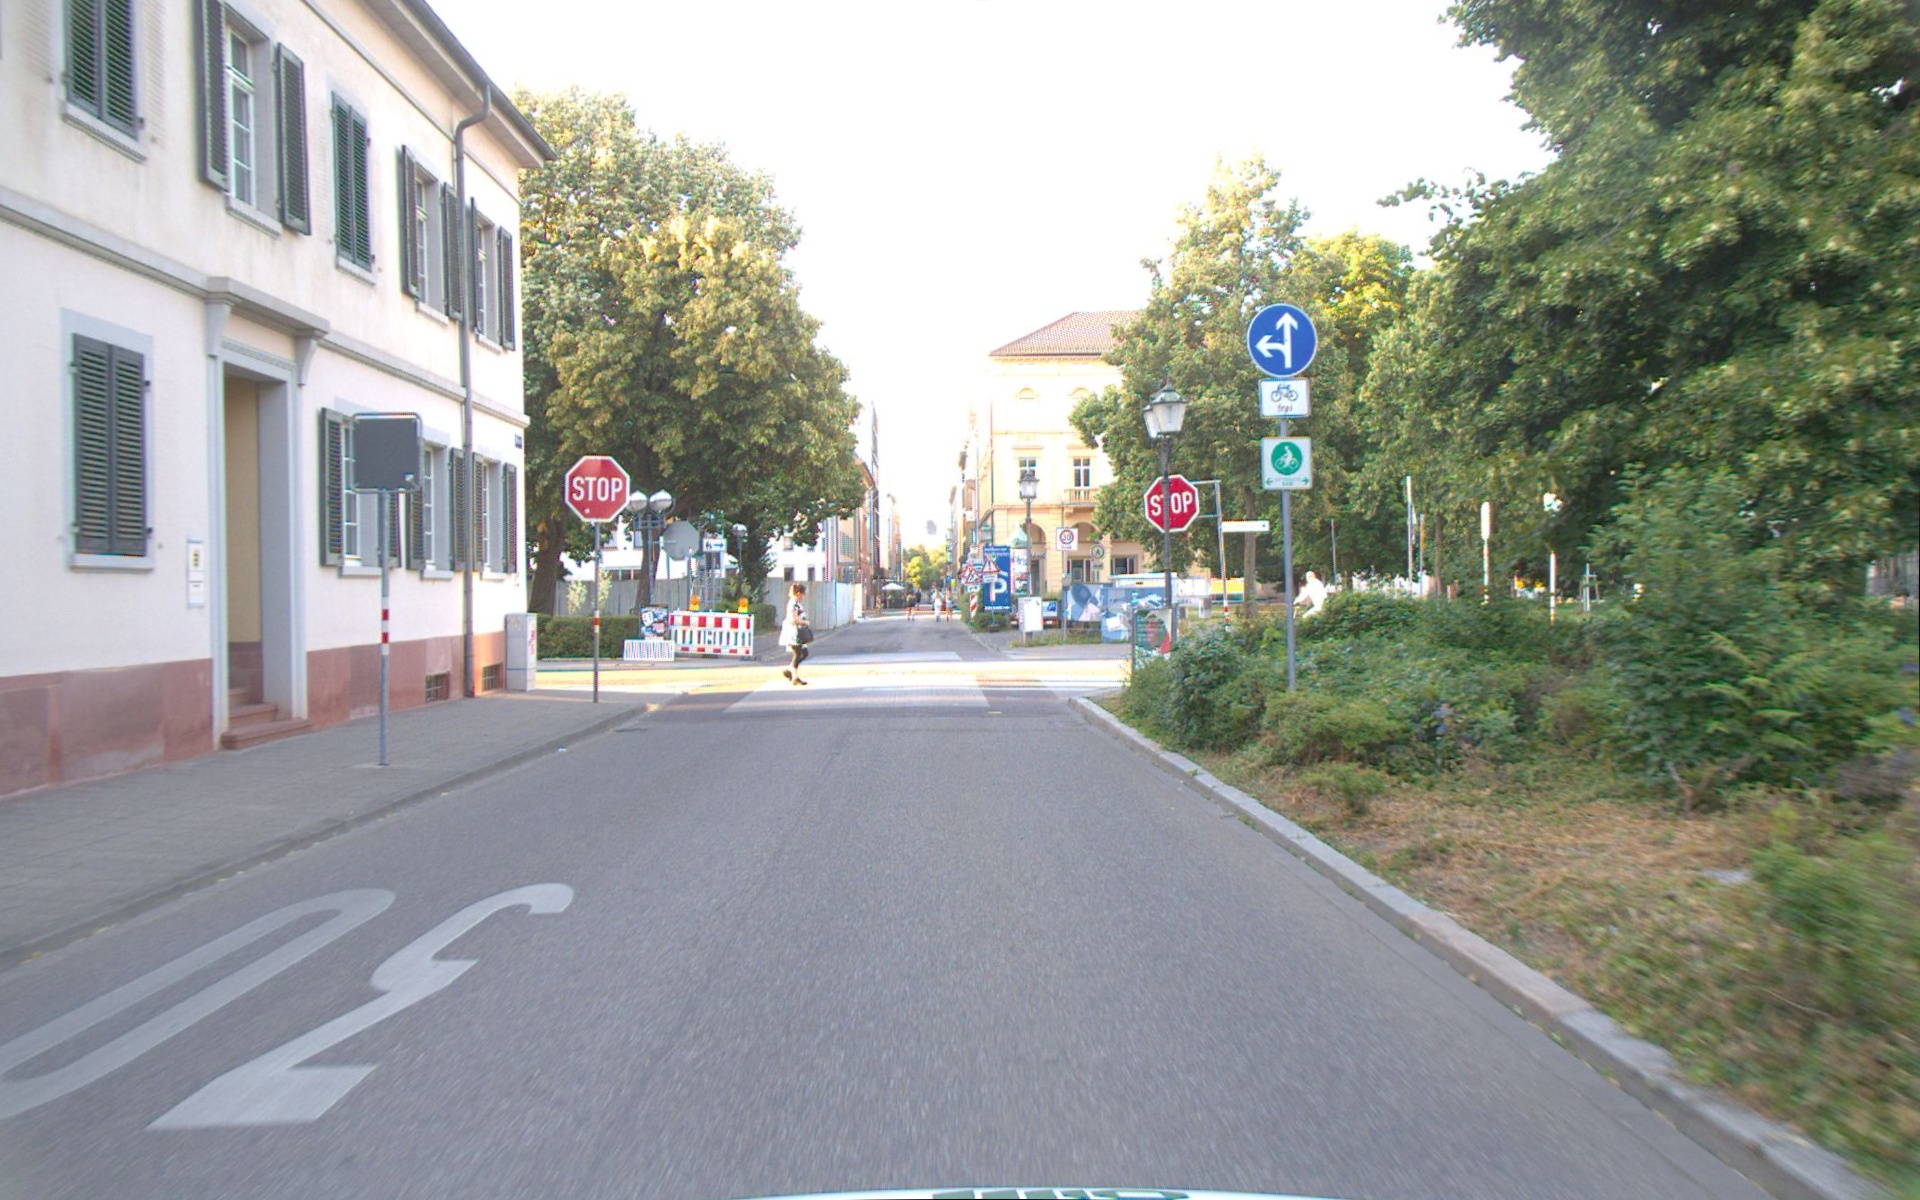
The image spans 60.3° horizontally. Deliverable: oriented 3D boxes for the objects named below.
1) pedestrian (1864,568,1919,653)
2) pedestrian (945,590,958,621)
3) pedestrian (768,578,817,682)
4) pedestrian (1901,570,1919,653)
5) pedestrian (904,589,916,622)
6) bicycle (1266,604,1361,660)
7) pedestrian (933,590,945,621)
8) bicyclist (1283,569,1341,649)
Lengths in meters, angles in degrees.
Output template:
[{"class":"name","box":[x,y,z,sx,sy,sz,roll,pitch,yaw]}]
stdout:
[{"class":"pedestrian","box":[15.439,0.172,27.226,0.585,1.365,0.817,-1,0,-7]},{"class":"pedestrian","box":[-0.463,0.295,90.626,0.644,1.645,0.745,-1,0,-1]},{"class":"pedestrian","box":[-2.833,0.491,28.027,0.719,1.719,0.836,-1,0,-2]},{"class":"pedestrian","box":[16.082,0.176,27.283,0.585,1.365,0.817,-1,0,-7]},{"class":"pedestrian","box":[-2.773,0.315,92.016,0.644,1.790,0.745,-1,0,-1]},{"class":"bicycle","box":[7.514,0.673,35.190,1.892,1.141,0.595,-1,0,-10]},{"class":"pedestrian","box":[-1.150,0.294,90.628,0.644,1.645,0.745,-1,0,-1]},{"class":"bicyclist","box":[7.483,0.182,35.223,1.041,1.661,0.595,-1,0,-10]}]
